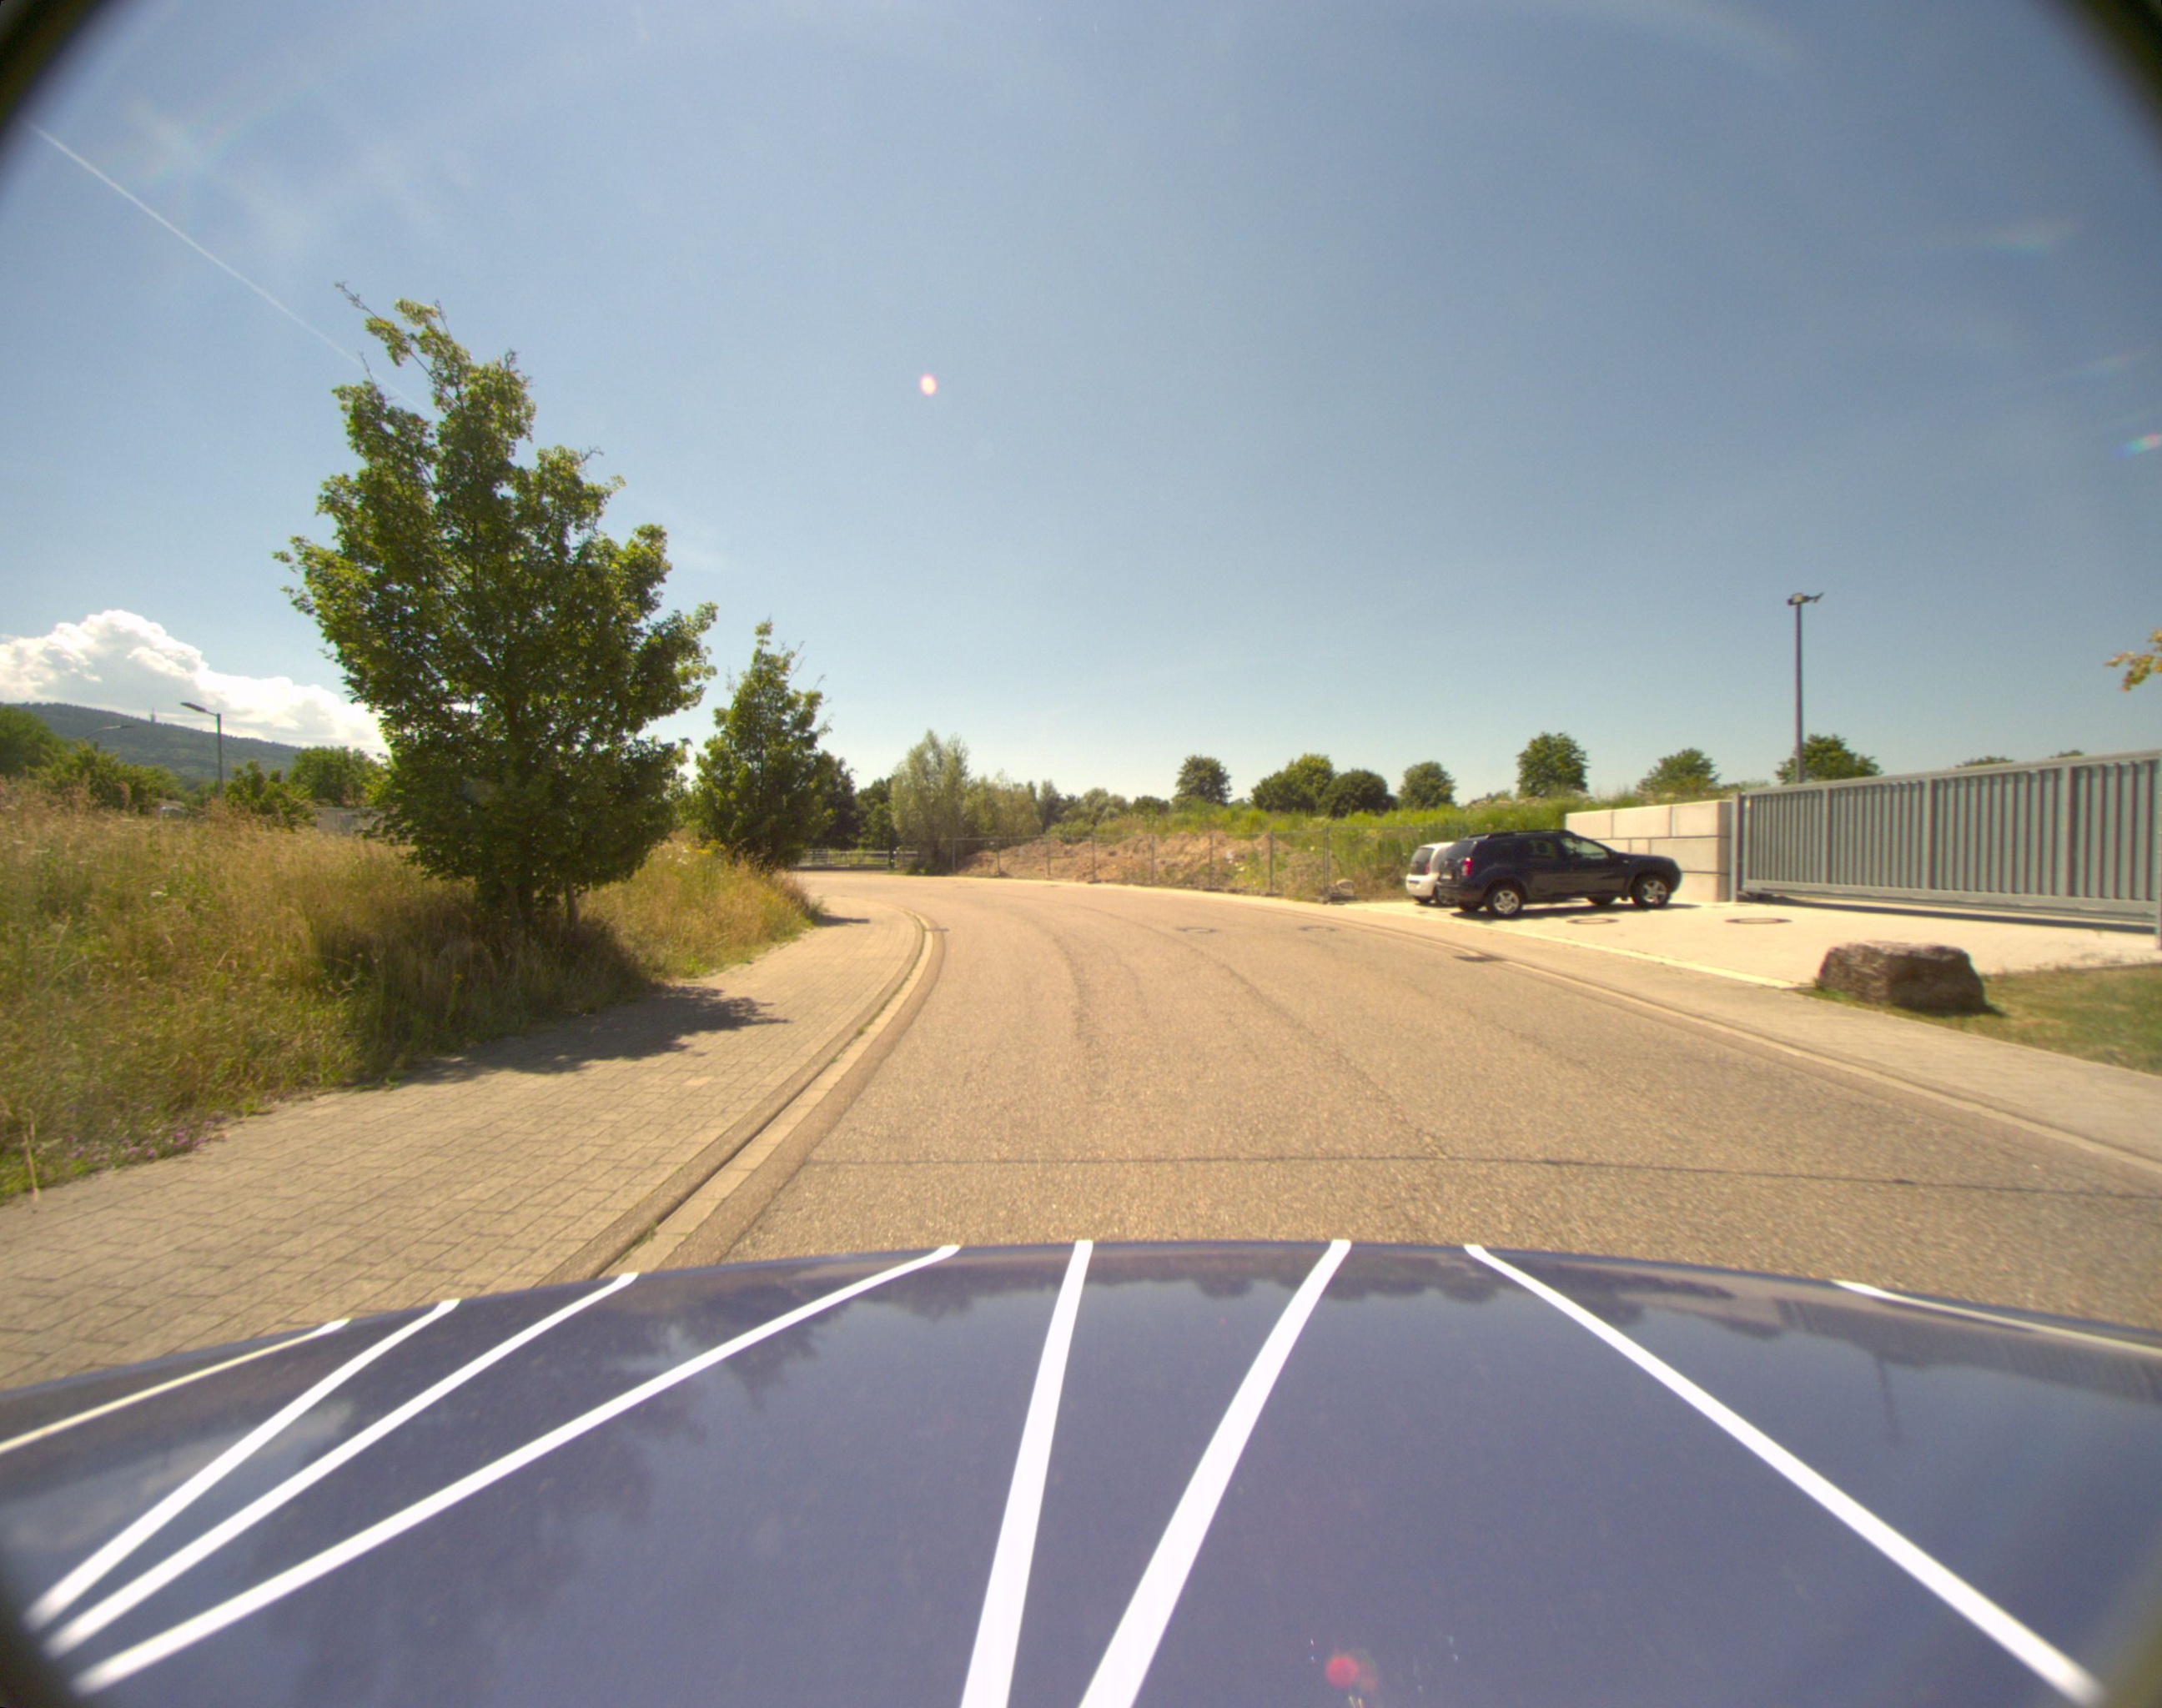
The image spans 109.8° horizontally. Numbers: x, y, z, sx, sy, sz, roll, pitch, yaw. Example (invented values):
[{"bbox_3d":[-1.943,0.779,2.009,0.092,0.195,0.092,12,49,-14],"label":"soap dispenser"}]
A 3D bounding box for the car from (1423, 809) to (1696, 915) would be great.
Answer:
[{"bbox_3d":[9.362,0.144,15.186,4.171,1.649,1.782,-5,1,6],"label":"car"}]

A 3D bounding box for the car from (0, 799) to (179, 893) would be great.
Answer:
[{"bbox_3d":[-25.516,-0.217,18.370,1.951,2.133,4.401,0,2,4],"label":"car"}]

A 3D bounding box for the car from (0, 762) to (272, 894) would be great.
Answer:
[{"bbox_3d":[-22.996,-0.610,18.056,1.997,2.728,4.754,0,2,10],"label":"car"}]

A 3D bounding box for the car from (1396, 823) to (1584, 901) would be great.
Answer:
[{"bbox_3d":[9.477,0.164,17.840,3.368,1.453,1.782,-5,1,4],"label":"car"}]
